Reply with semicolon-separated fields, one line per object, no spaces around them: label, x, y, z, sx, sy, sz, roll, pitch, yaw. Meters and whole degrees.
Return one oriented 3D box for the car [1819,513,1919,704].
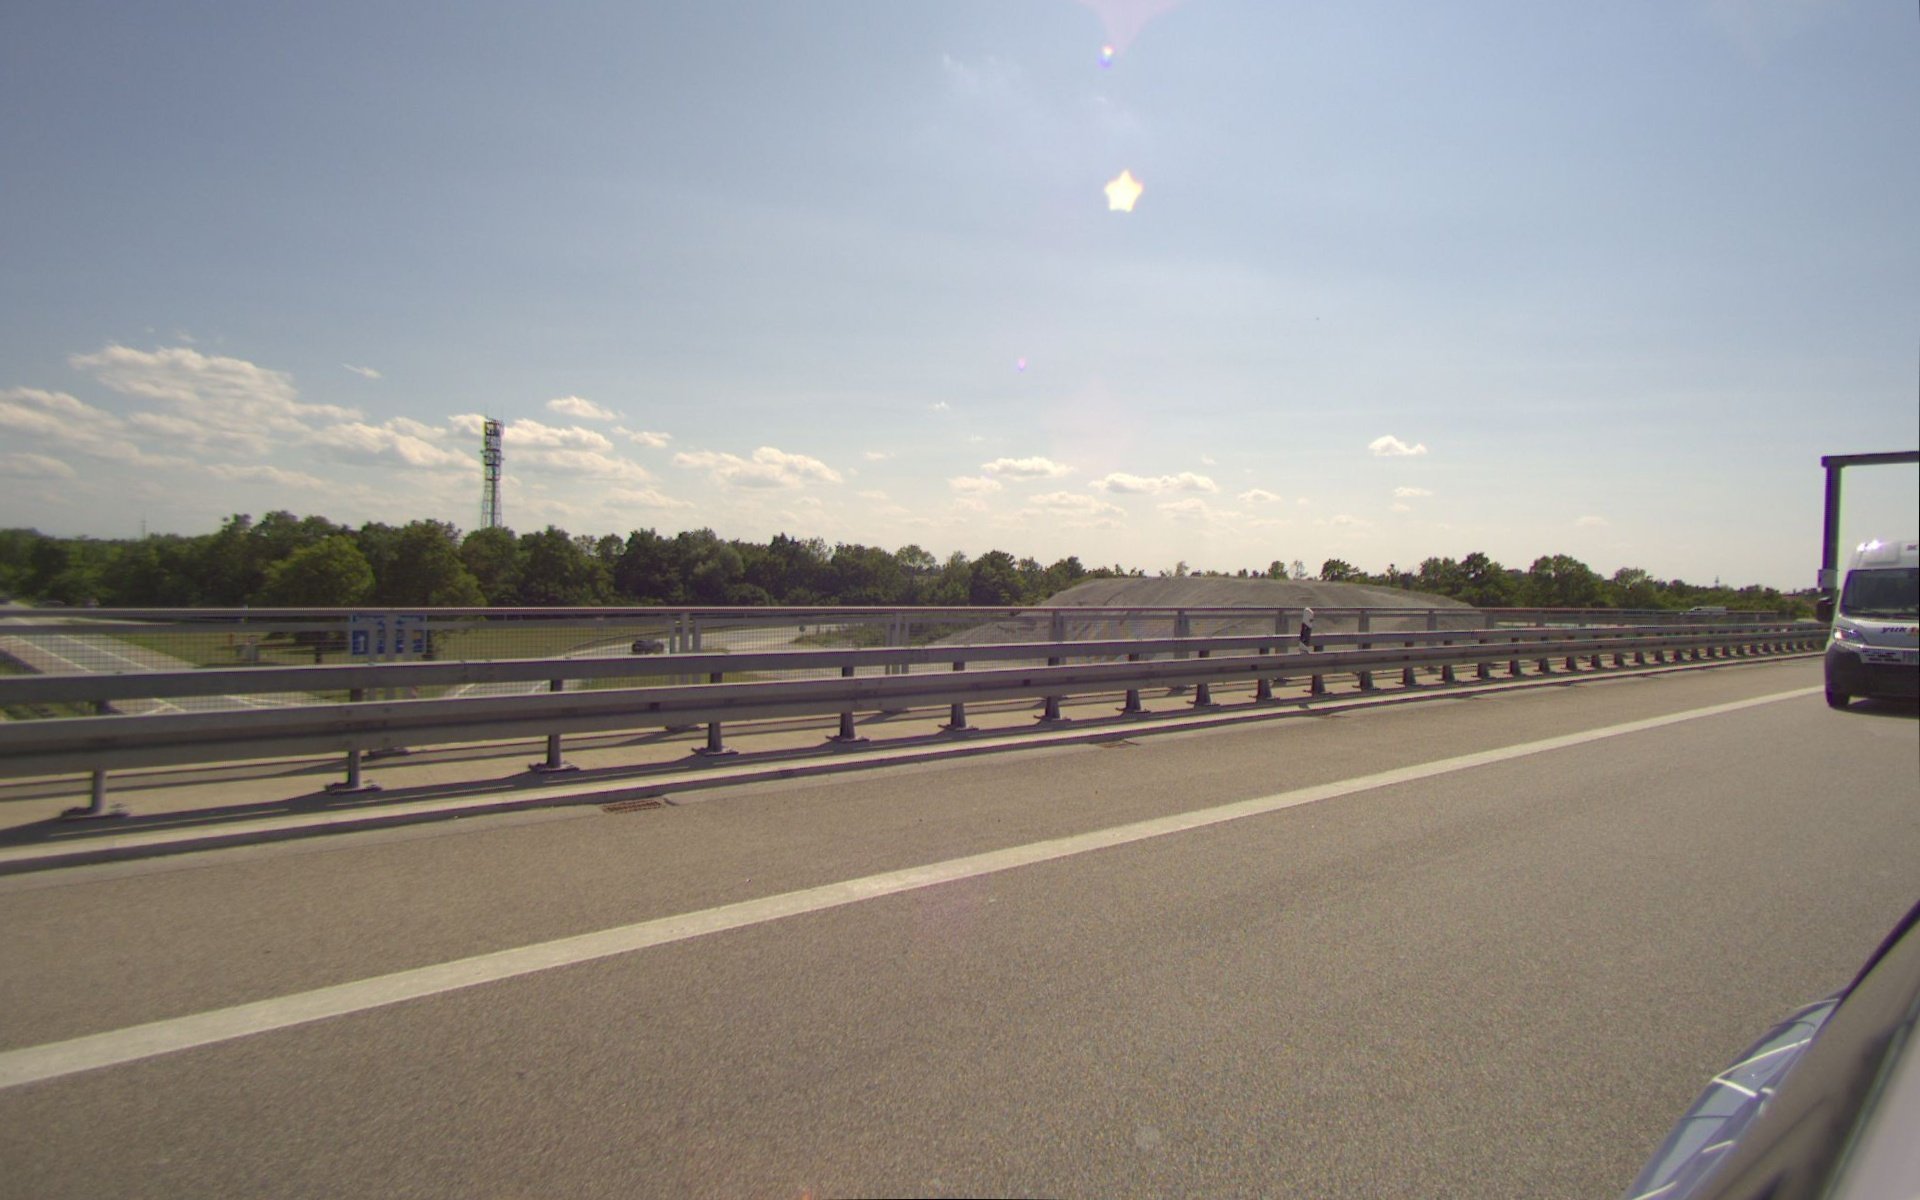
car;15.221;0.147;15.426;6.123;2.555;2.087;1;1;-39
